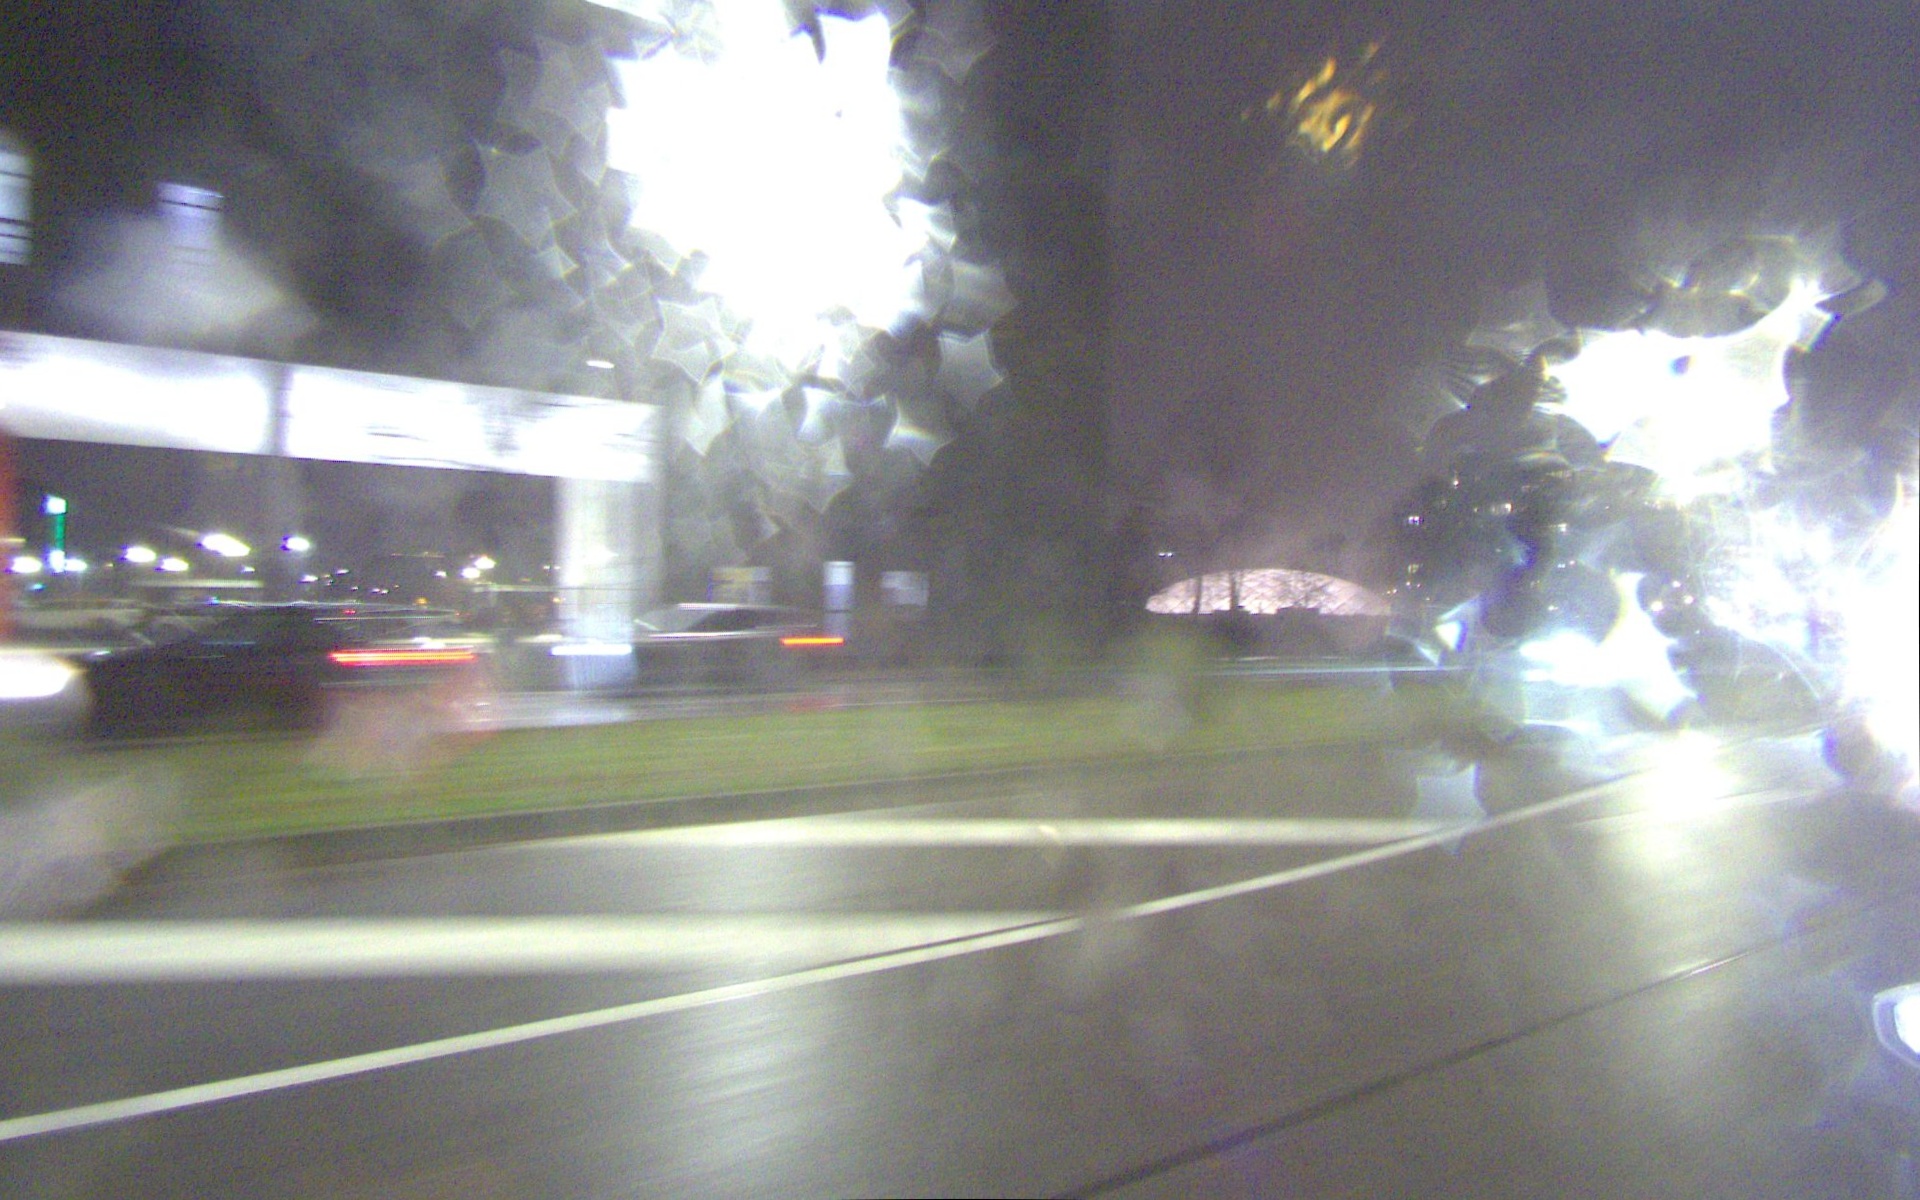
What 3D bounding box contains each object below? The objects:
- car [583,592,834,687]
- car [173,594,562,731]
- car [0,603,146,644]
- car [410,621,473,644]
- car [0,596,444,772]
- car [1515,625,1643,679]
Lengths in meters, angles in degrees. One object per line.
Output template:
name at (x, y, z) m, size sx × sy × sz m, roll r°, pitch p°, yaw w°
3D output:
car at (-4.749, 0.691, 19.083) m, size 4.313 × 1.614 × 1.835 m, roll 1°, pitch 0°, yaw -30°
car at (-7.889, 0.763, 13.779) m, size 4.313 × 1.614 × 1.835 m, roll 1°, pitch 0°, yaw -30°
car at (-42.072, 1.088, 47.443) m, size 5.365 × 1.840 × 1.983 m, roll 1°, pitch 0°, yaw -31°
car at (-37.583, 2.345, 72.874) m, size 3.955 × 1.595 × 1.893 m, roll 1°, pitch 0°, yaw -32°
car at (-7.658, 0.745, 10.138) m, size 4.313 × 1.506 × 1.835 m, roll 1°, pitch 0°, yaw -30°
car at (21.734, 1.780, 35.229) m, size 4.496 × 1.706 × 2.014 m, roll 1°, pitch 0°, yaw -31°
